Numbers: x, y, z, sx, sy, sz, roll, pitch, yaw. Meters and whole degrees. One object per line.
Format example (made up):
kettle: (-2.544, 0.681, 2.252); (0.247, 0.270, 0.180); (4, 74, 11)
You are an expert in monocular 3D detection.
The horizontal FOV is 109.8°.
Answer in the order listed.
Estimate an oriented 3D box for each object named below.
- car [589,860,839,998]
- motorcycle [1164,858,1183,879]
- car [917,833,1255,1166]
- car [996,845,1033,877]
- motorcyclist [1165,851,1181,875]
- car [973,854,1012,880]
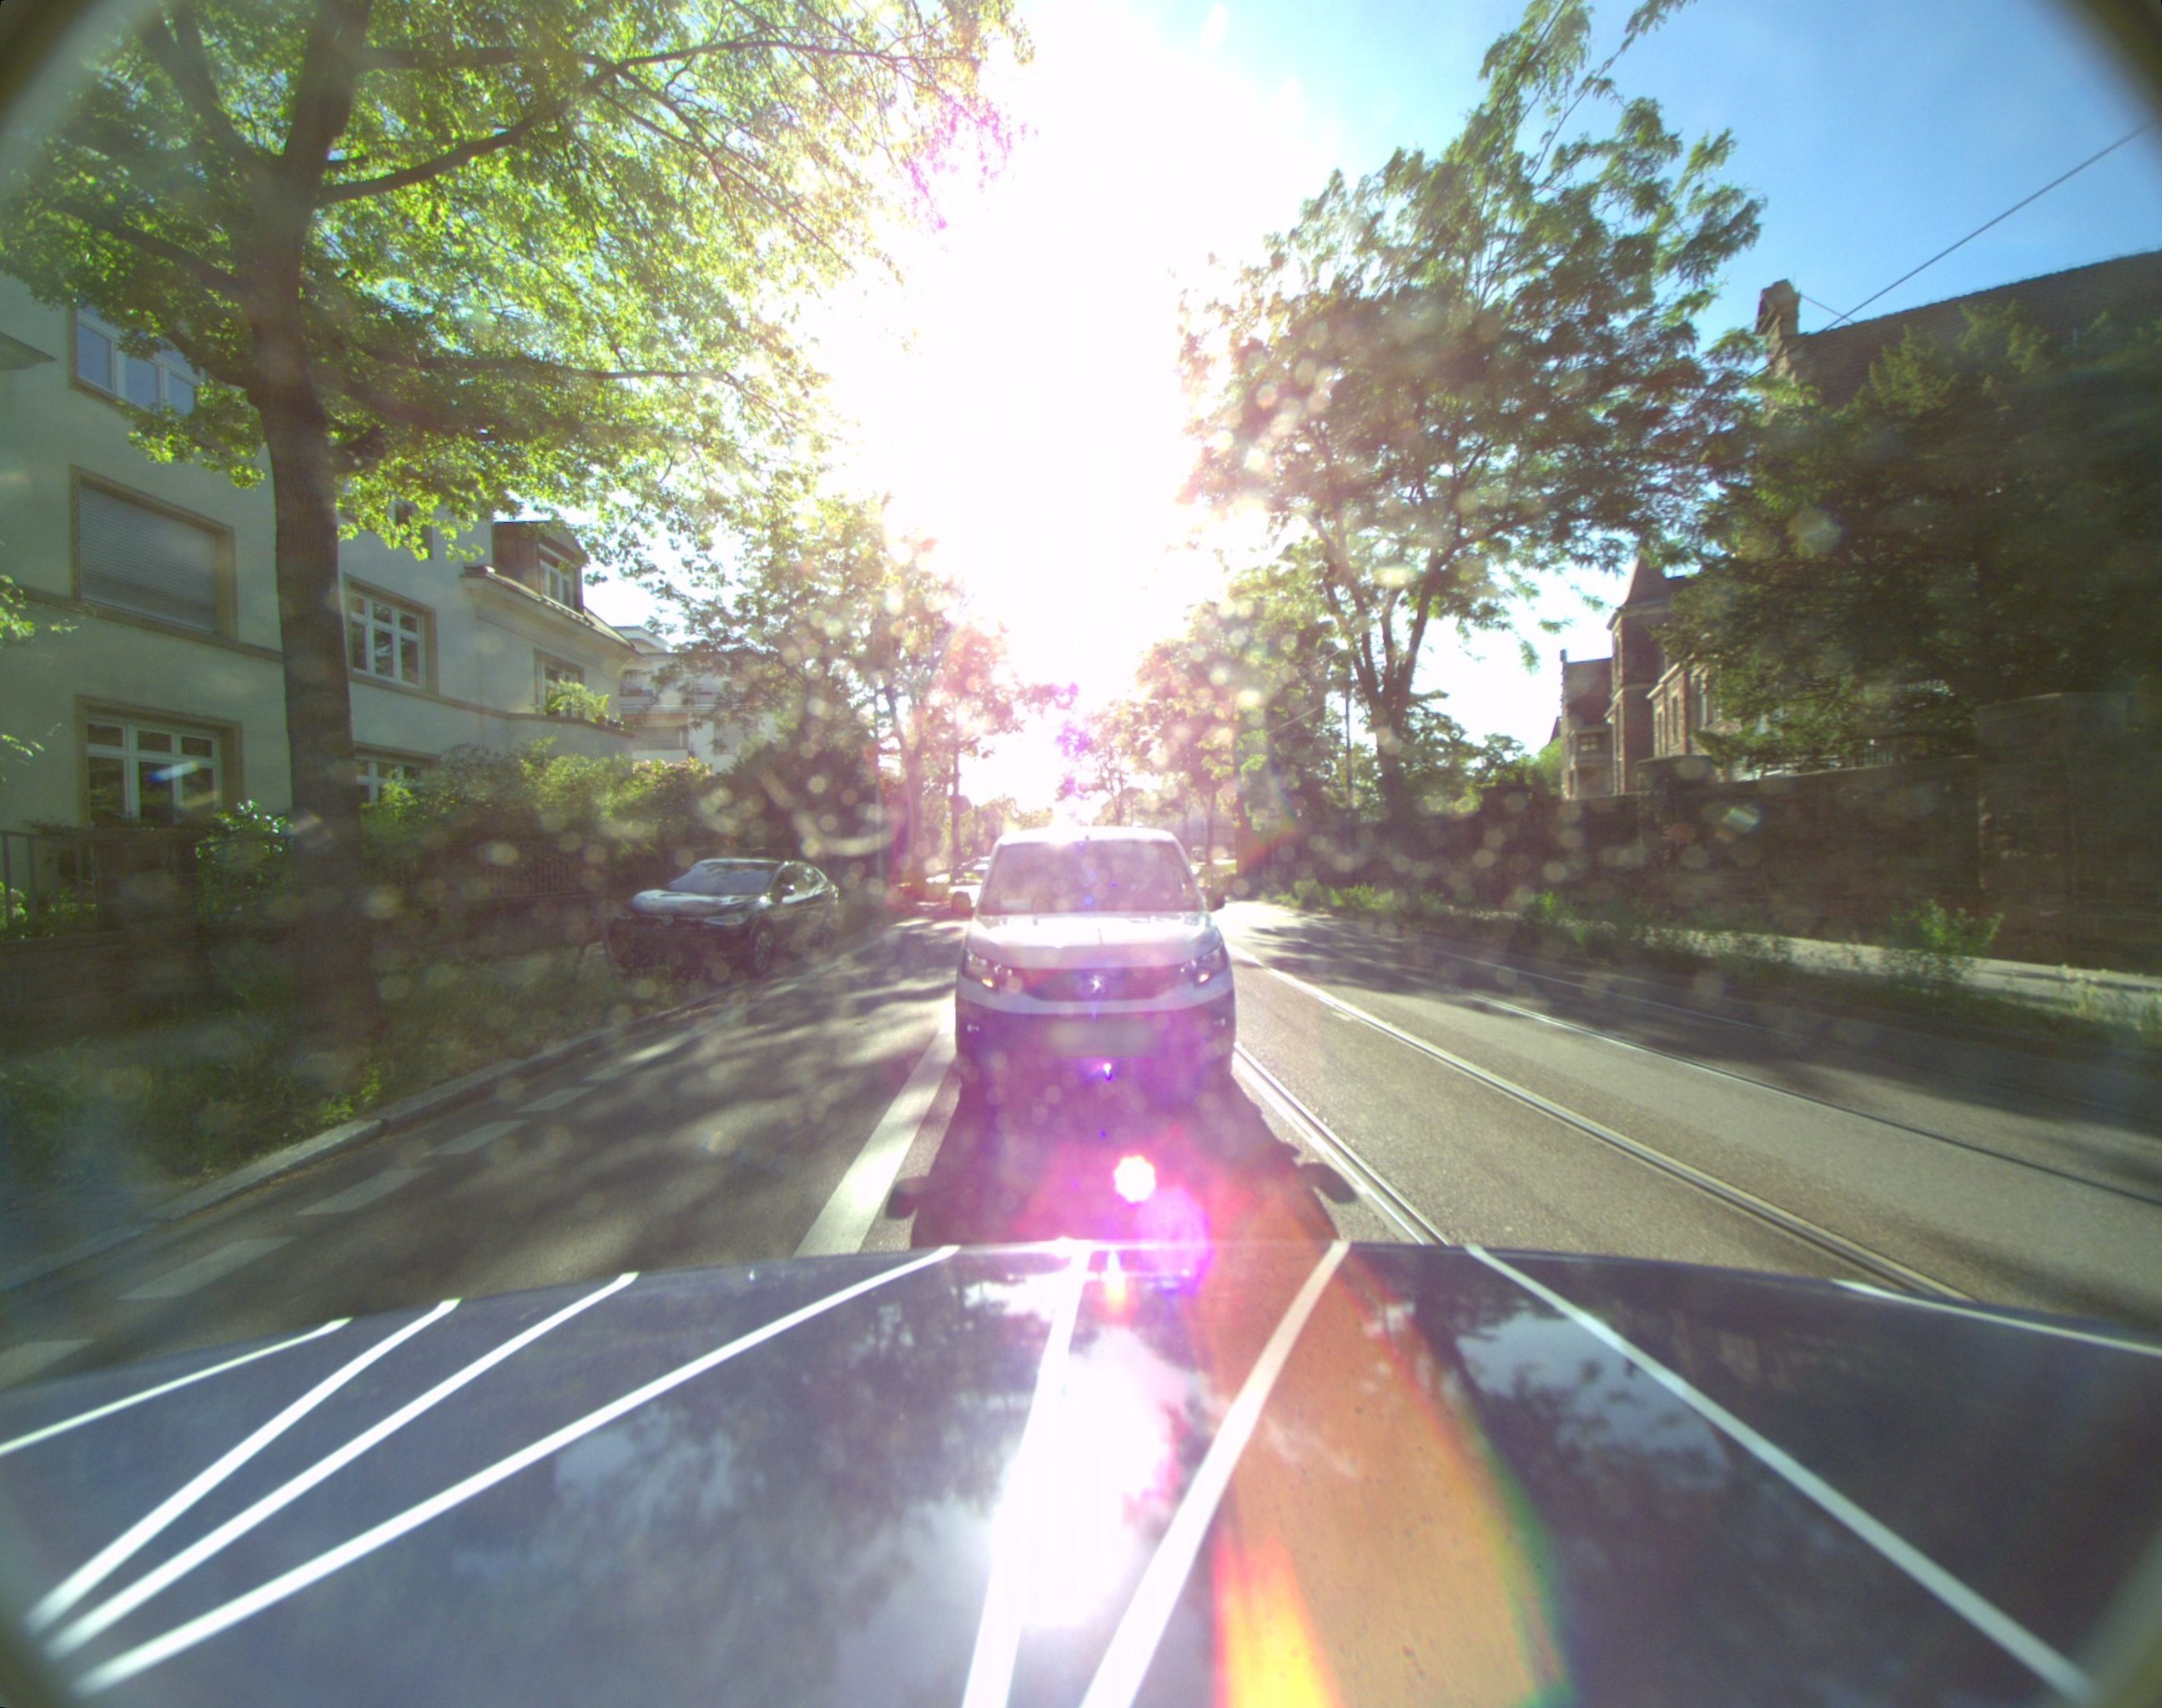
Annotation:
car: (-5.183, 0.947, 11.424); (1.743, 1.597, 4.091); (2, 0, 0)
motorcycle: (5.510, 0.863, 45.354); (0.913, 1.146, 2.429); (-1, 0, 3)
car: (0.047, 0.788, 6.528); (1.793, 1.770, 4.786); (-2, 0, 0)
car: (-4.498, 0.437, 51.922); (1.998, 2.002, 4.583); (-1, 0, 1)
motorcyclist: (5.500, 0.513, 45.365); (0.891, 1.375, 0.908); (-1, 1, 3)
car: (-5.250, 0.758, 45.457); (1.787, 1.443, 4.000); (-2, 0, 1)
